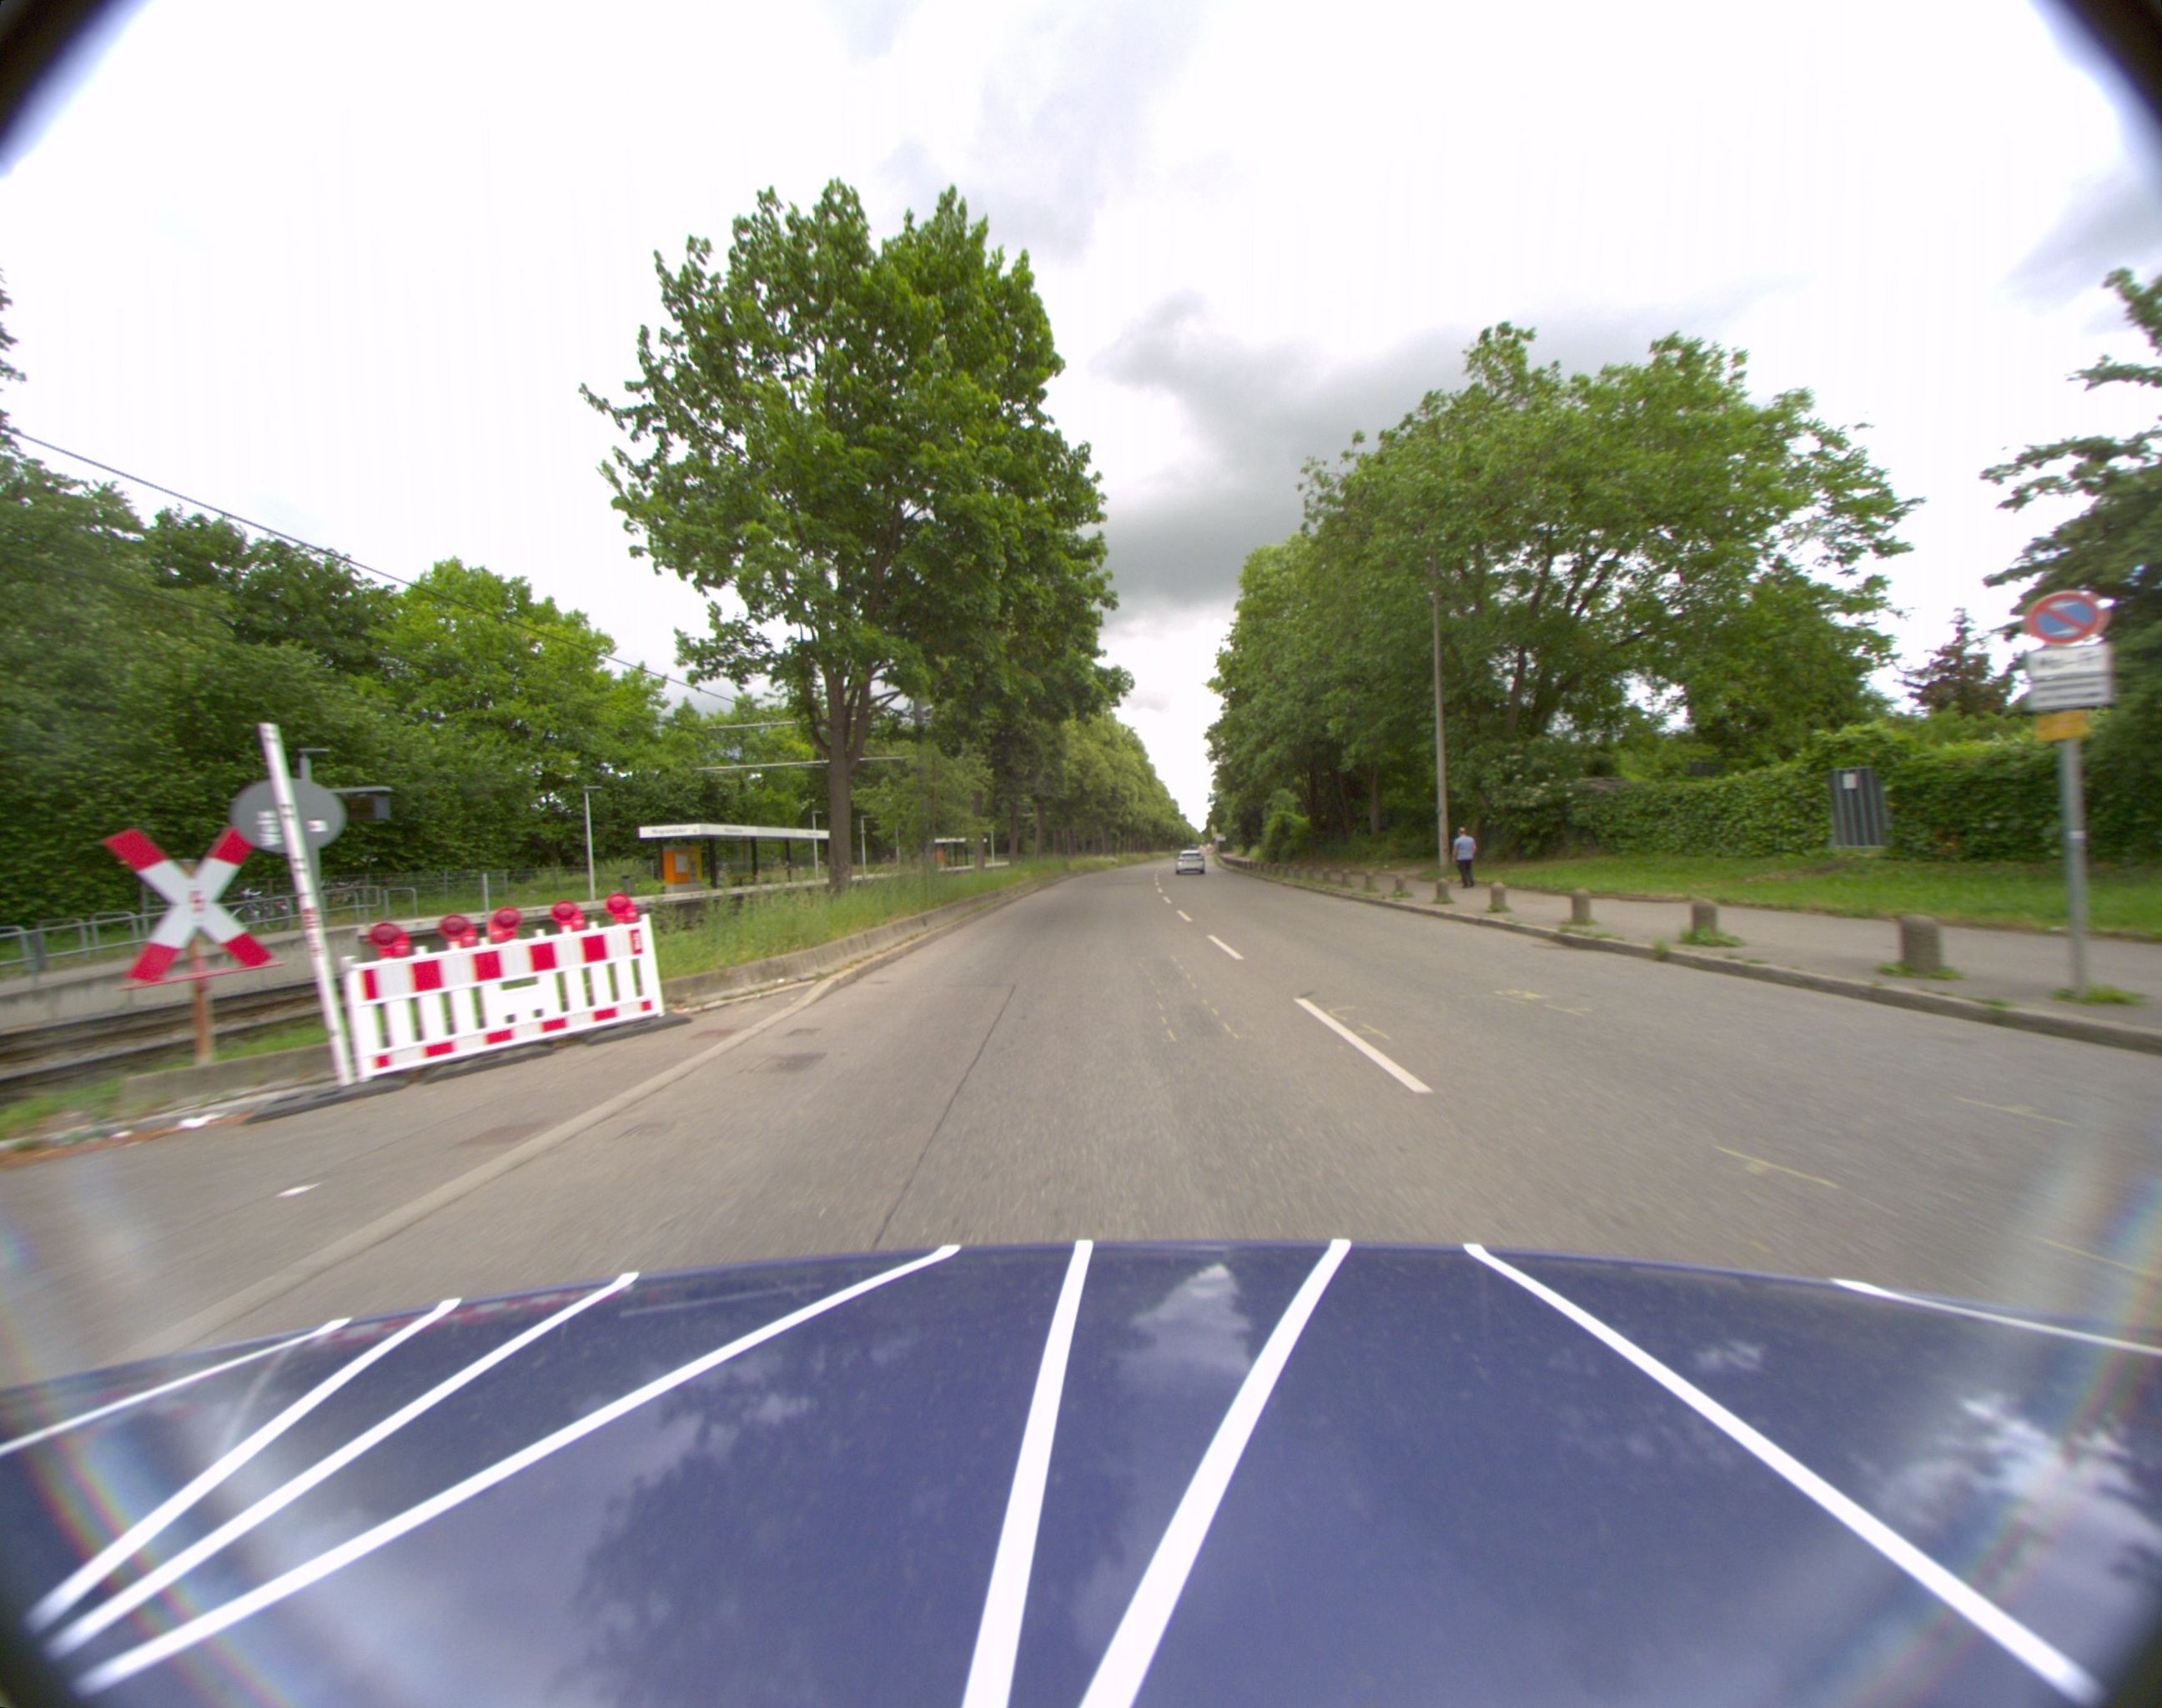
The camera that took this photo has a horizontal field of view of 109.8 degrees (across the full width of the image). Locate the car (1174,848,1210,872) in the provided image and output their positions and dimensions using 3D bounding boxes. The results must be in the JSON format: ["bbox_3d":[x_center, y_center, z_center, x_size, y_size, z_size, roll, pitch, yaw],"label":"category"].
[{"bbox_3d":[7.036,0.353,48.438,1.777,1.431,4.361,-1,1,2],"label":"car"}]

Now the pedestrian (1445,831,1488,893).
[{"bbox_3d":[10.572,0.204,20.876,0.691,1.625,0.838,-4,1,4],"label":"pedestrian"}]

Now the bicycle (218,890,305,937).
[{"bbox_3d":[-19.286,1.390,17.897,1.512,0.968,0.450,-4,1,1],"label":"bicycle"}]
